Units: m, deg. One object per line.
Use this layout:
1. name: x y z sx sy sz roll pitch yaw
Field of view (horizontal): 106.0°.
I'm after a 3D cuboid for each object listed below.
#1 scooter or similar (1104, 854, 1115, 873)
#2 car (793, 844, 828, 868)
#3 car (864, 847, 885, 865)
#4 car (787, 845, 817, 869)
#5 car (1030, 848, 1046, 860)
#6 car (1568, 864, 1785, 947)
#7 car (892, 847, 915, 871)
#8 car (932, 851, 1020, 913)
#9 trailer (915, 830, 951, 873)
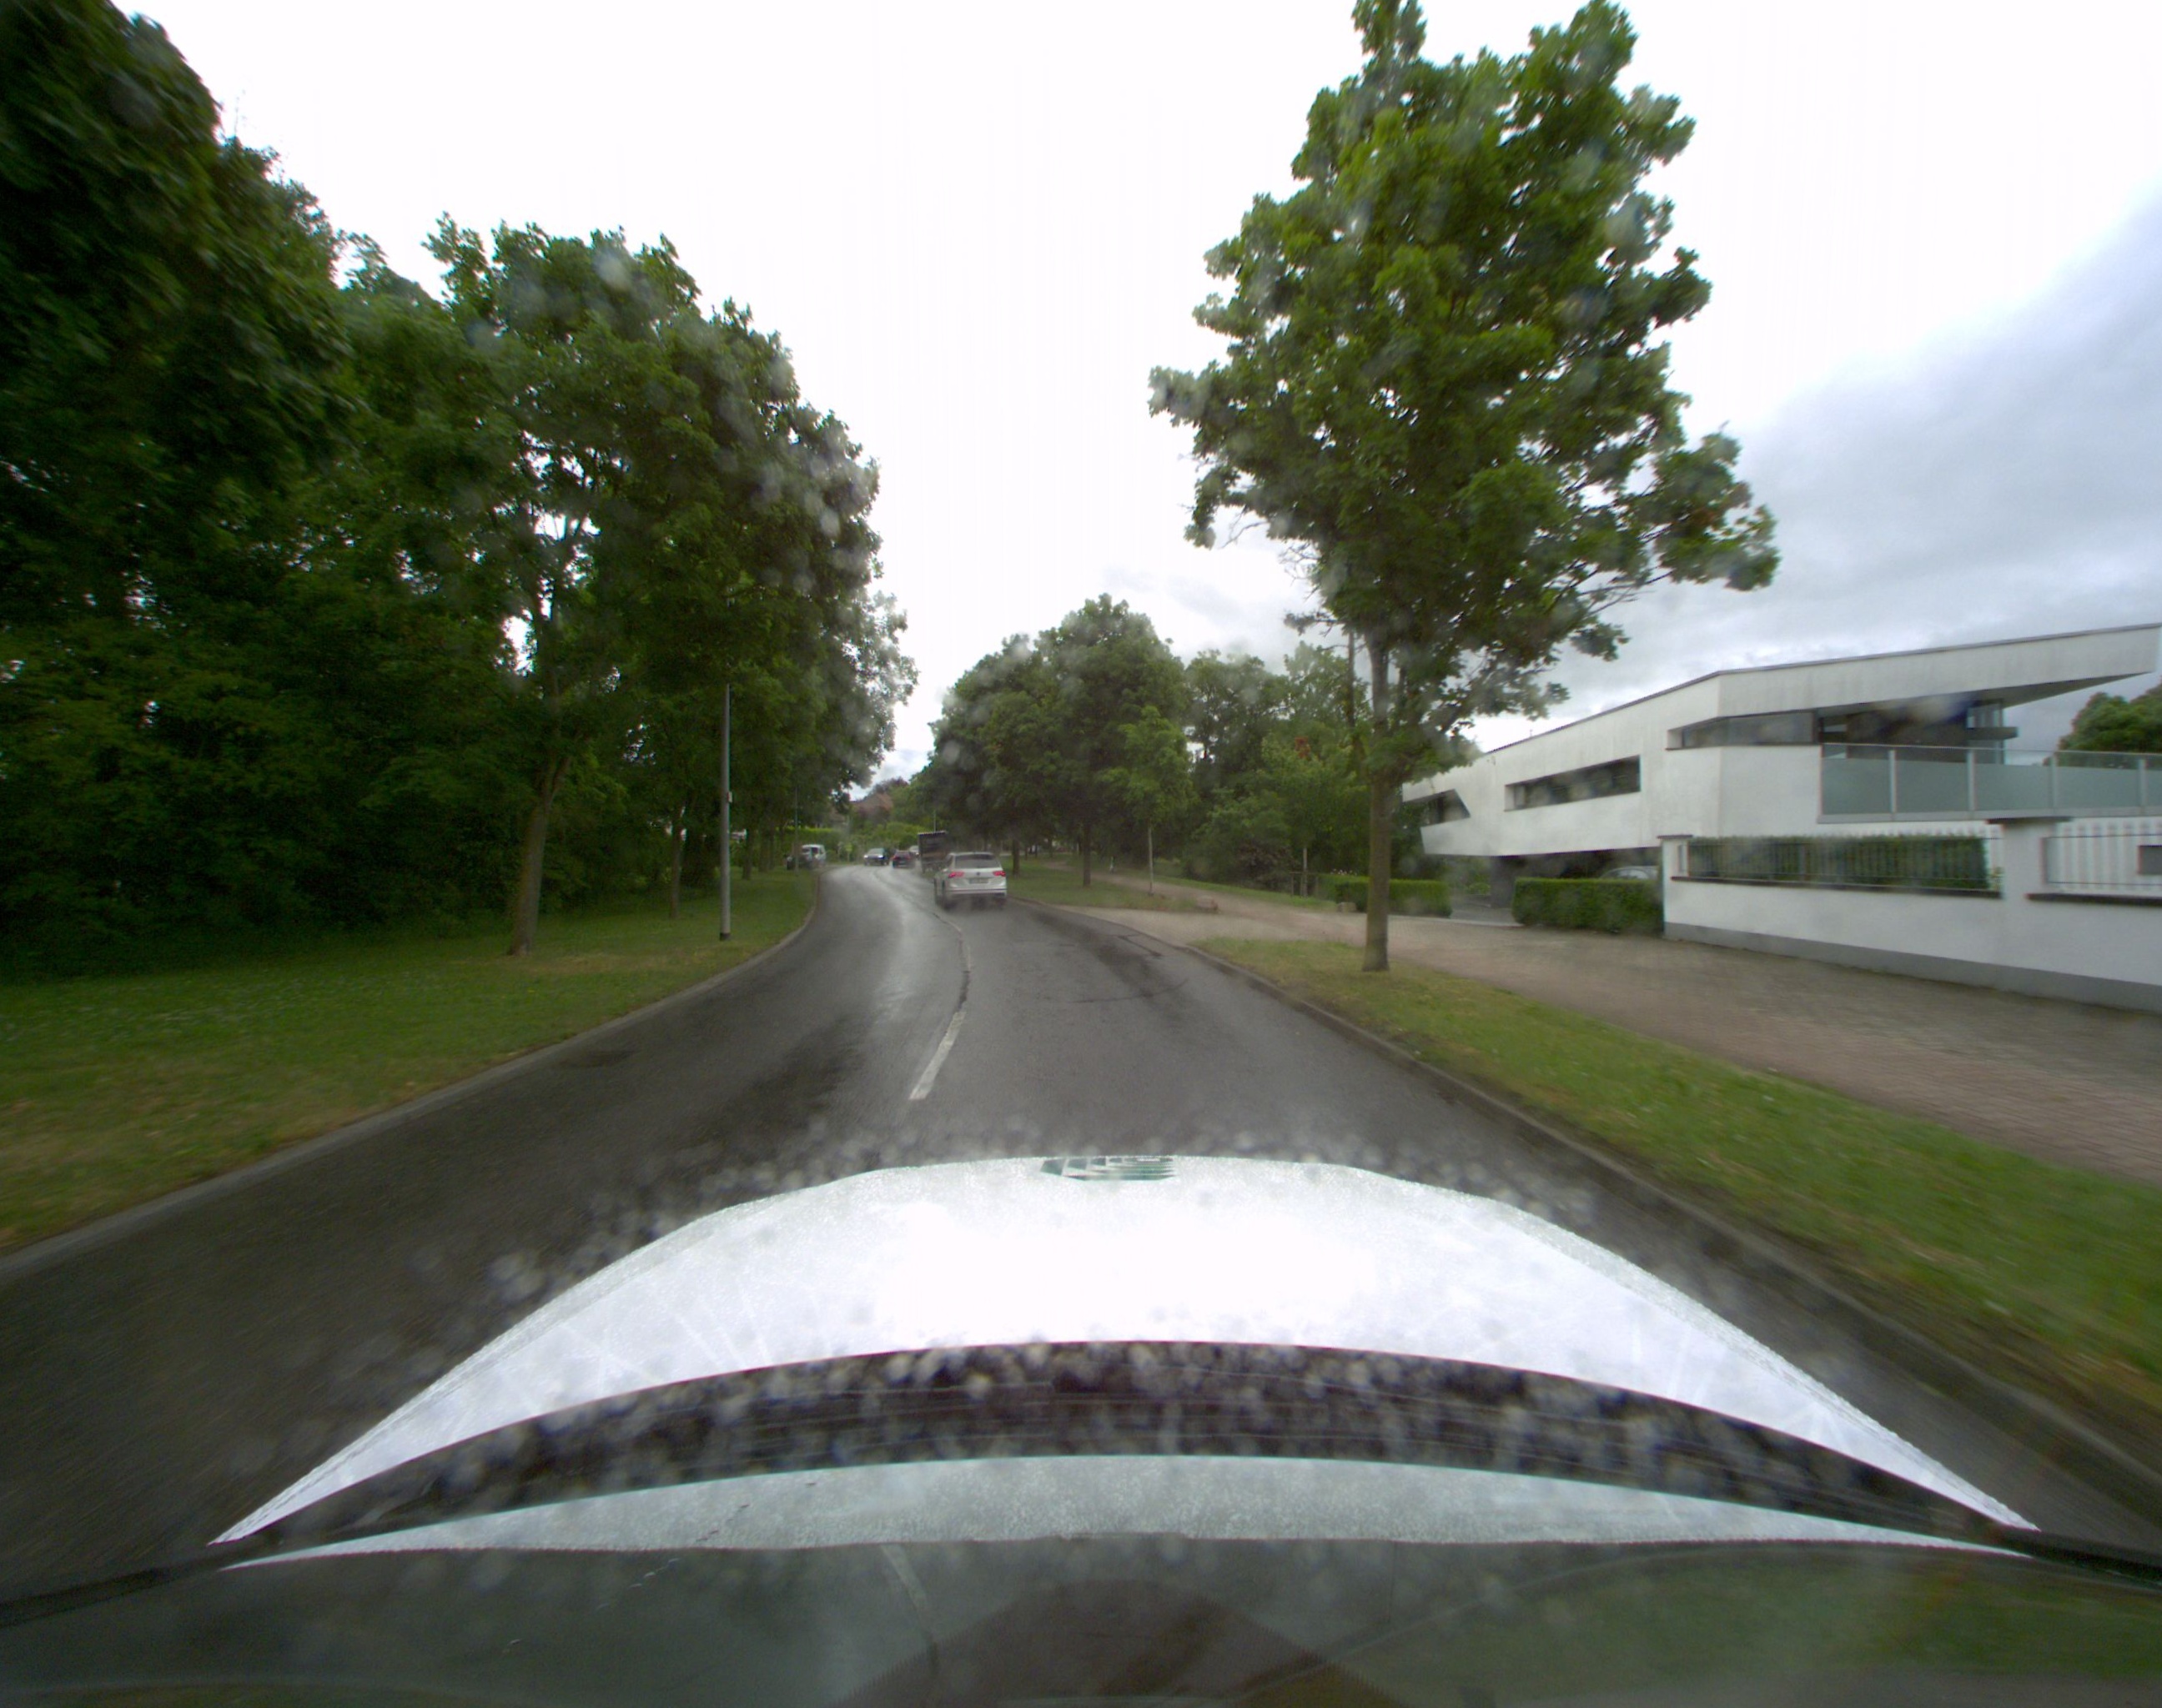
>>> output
1. scooter or similar: 1.795 0.585 51.350 0.463 1.146 1.297 -2 1 -10
2. car: -21.499 0.122 64.803 1.797 1.795 4.362 1 0 -7
3. car: -19.372 0.151 76.480 1.791 1.537 4.075 2 1 -13
4. car: -20.404 0.241 59.692 1.753 1.640 4.568 2 -1 -15
5. car: -7.200 0.019 137.125 1.983 1.804 4.008 2 -1 7
6. car: 12.926 1.023 18.092 1.911 1.550 4.468 2 -1 6
7. car: -15.809 0.421 72.421 1.903 2.014 3.927 2 -1 -13
8. car: -3.327 0.805 25.048 1.979 1.653 4.152 -2 0 -17
9. trailer: -10.869 -0.230 59.589 1.996 2.807 5.582 -6 2 -13
